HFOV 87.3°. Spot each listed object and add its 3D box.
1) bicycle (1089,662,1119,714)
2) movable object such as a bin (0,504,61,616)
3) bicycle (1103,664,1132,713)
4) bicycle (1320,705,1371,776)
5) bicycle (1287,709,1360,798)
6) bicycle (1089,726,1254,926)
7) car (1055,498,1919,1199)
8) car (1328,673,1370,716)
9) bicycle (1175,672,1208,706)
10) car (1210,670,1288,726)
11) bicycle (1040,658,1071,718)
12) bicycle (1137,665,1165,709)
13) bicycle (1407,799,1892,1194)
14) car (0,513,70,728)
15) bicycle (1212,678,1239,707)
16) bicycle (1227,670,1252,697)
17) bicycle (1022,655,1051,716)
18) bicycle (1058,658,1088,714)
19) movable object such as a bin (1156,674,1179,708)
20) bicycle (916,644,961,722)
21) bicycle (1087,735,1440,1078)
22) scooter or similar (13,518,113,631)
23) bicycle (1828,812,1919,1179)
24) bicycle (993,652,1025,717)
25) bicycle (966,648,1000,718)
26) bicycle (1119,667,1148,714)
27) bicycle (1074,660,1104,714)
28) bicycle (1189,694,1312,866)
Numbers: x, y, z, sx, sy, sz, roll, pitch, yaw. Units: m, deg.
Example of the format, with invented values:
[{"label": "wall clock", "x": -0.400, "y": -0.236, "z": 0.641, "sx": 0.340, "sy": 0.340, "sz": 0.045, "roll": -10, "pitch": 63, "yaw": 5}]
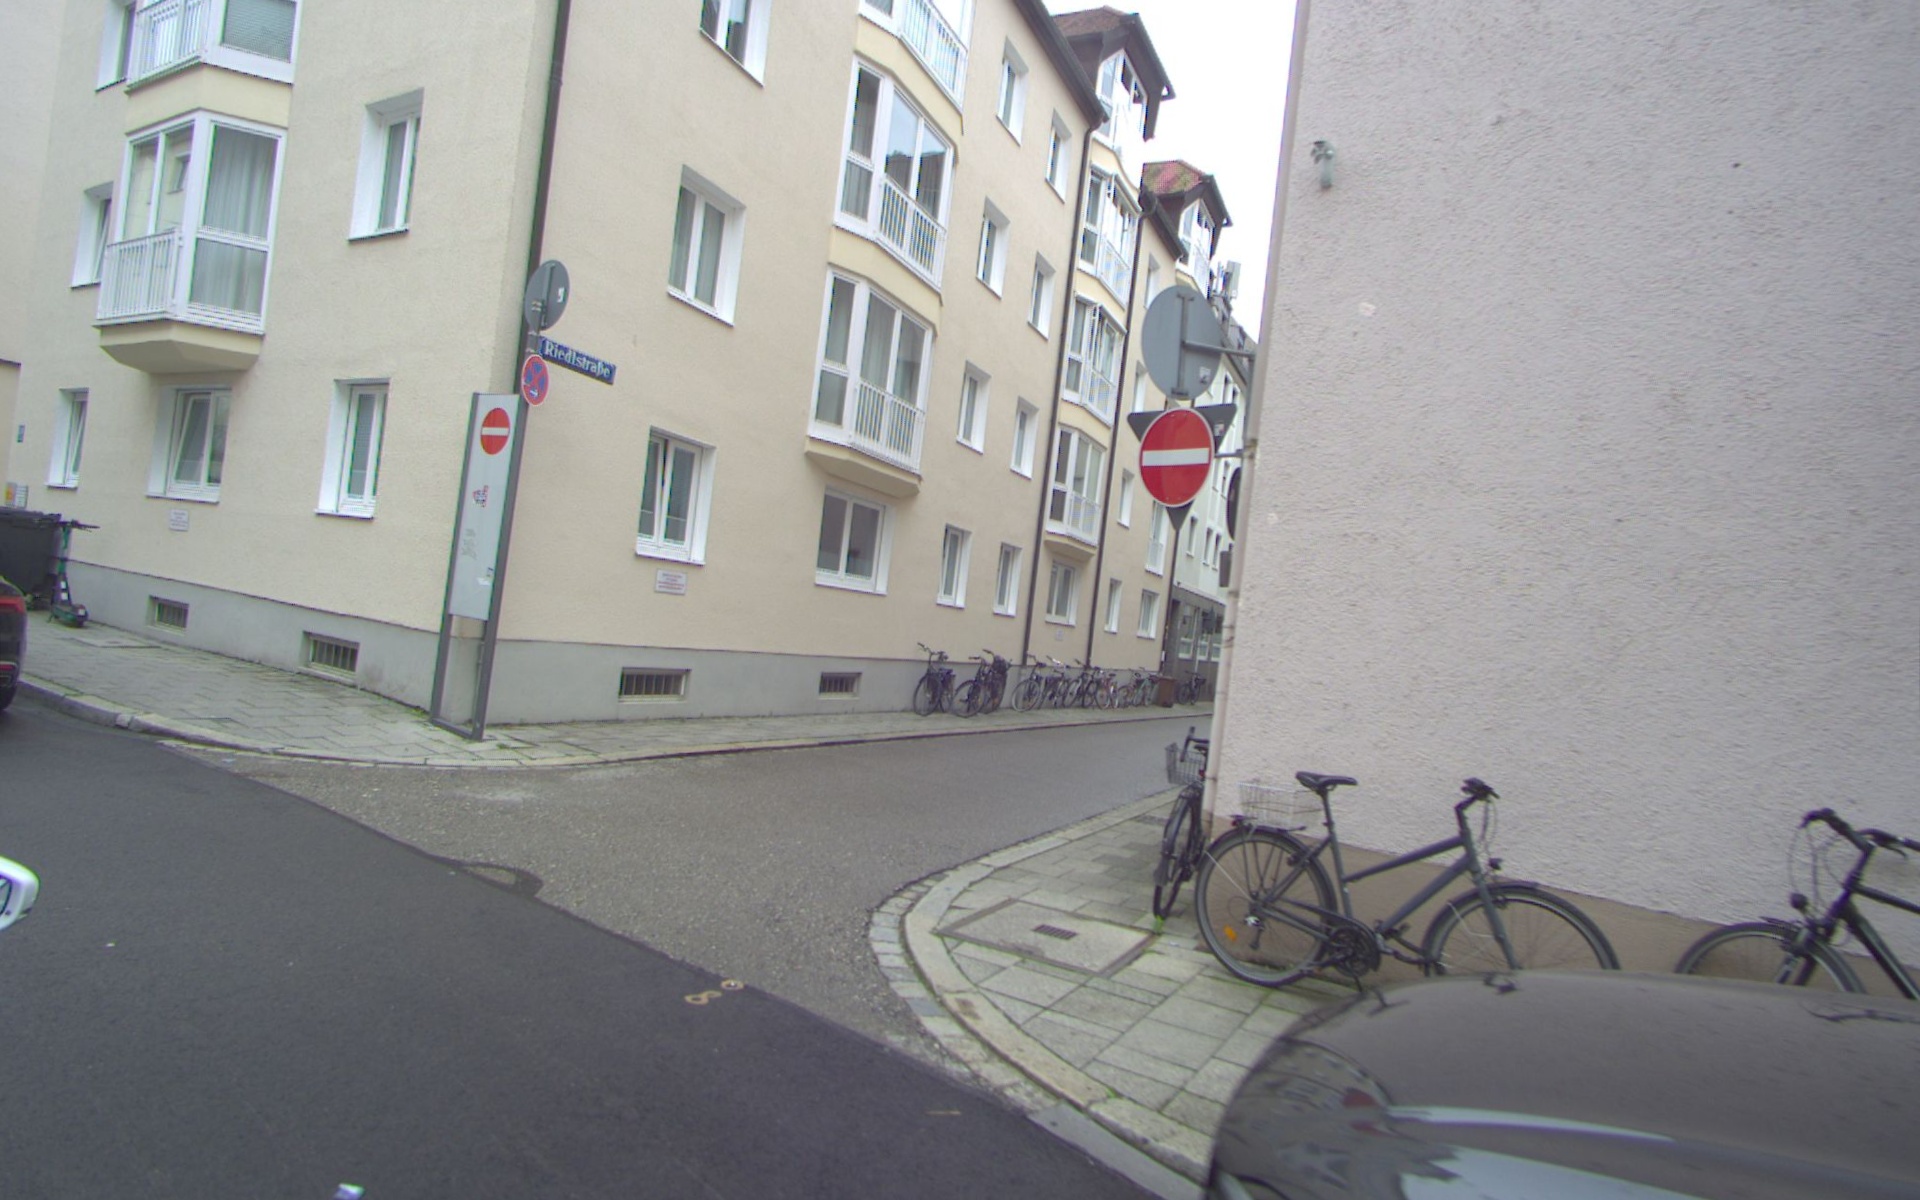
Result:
[{"label": "bicycle", "x": 3.465, "y": 2.100, "z": 24.261, "sx": 0.447, "sy": 1.100, "sz": 1.724, "roll": 7, "pitch": -1, "yaw": 4}, {"label": "movable object such as a bin", "x": -13.167, "y": -0.593, "z": 13.621, "sx": 1.561, "sy": 1.441, "sz": 1.032, "roll": 6, "pitch": 1, "yaw": 32}, {"label": "bicycle", "x": 3.976, "y": 2.224, "z": 25.470, "sx": 0.447, "sy": 1.100, "sz": 1.724, "roll": 7, "pitch": -1, "yaw": 4}, {"label": "bicycle", "x": 6.723, "y": 2.413, "z": 17.488, "sx": 0.638, "sy": 1.035, "sz": 1.908, "roll": 7, "pitch": -1, "yaw": 24}, {"label": "bicycle", "x": 4.901, "y": 2.023, "z": 13.500, "sx": 0.600, "sy": 1.003, "sz": 1.736, "roll": 7, "pitch": -1, "yaw": 27}, {"label": "bicycle", "x": 1.351, "y": 1.320, "z": 6.222, "sx": 0.543, "sy": 0.959, "sz": 1.451, "roll": 7, "pitch": -1, "yaw": 27}, {"label": "car", "x": 2.387, "y": 0.987, "z": 0.680, "sx": 4.338, "sy": 1.640, "sz": 1.836, "roll": 6, "pitch": -2, "yaw": 32}, {"label": "car", "x": 20.894, "y": 5.018, "z": 53.960, "sx": 1.683, "sy": 1.880, "sz": 3.731, "roll": 7, "pitch": 1, "yaw": 24}, {"label": "bicycle", "x": 7.865, "y": 3.006, "z": 34.184, "sx": 0.638, "sy": 1.035, "sz": 1.908, "roll": 7, "pitch": -1, "yaw": 24}, {"label": "car", "x": 9.016, "y": 2.990, "z": 31.199, "sx": 1.707, "sy": 1.325, "sz": 3.731, "roll": 7, "pitch": 1, "yaw": 24}, {"label": "bicycle", "x": 1.976, "y": 1.809, "z": 20.956, "sx": 0.447, "sy": 1.100, "sz": 1.724, "roll": 7, "pitch": -1, "yaw": 4}, {"label": "bicycle", "x": 5.414, "y": 2.449, "z": 28.538, "sx": 0.447, "sy": 1.100, "sz": 1.724, "roll": 7, "pitch": -1, "yaw": 4}, {"label": "bicycle", "x": 2.512, "y": 1.386, "z": 3.816, "sx": 1.335, "sy": 0.959, "sz": 0.551, "roll": 7, "pitch": 0, "yaw": 33}, {"label": "car", "x": -8.495, "y": -0.102, "z": 7.345, "sx": 4.340, "sy": 1.422, "sz": 1.836, "roll": 6, "pitch": -3, "yaw": 34}, {"label": "bicycle", "x": 10.511, "y": 3.640, "z": 39.732, "sx": 0.638, "sy": 1.035, "sz": 1.908, "roll": 7, "pitch": -1, "yaw": 24}, {"label": "bicycle", "x": 11.771, "y": 3.495, "z": 42.365, "sx": 0.638, "sy": 1.035, "sz": 1.908, "roll": 7, "pitch": -1, "yaw": 24}, {"label": "bicycle", "x": 1.544, "y": 1.706, "z": 20.376, "sx": 0.447, "sy": 1.100, "sz": 1.724, "roll": 7, "pitch": -1, "yaw": 4}, {"label": "bicycle", "x": 2.491, "y": 1.886, "z": 22.324, "sx": 0.447, "sy": 1.100, "sz": 1.724, "roll": 7, "pitch": -1, "yaw": 4}, {"label": "movable object such as a bin", "x": 6.329, "y": 2.774, "z": 30.678, "sx": 0.499, "sy": 0.947, "sz": 0.478, "roll": 7, "pitch": -1, "yaw": 21}, {"label": "bicycle", "x": -0.369, "y": 1.328, "z": 16.472, "sx": 0.448, "sy": 1.100, "sz": 1.721, "roll": 7, "pitch": -1, "yaw": -7}, {"label": "bicycle", "x": 1.366, "y": 1.300, "z": 4.599, "sx": 1.335, "sy": 1.139, "sz": 0.551, "roll": 7, "pitch": 0, "yaw": 33}, {"label": "scooter or similar", "x": -11.103, "y": -0.316, "z": 12.446, "sx": 1.118, "sy": 1.283, "sz": 0.576, "roll": 6, "pitch": 1, "yaw": 32}, {"label": "bicycle", "x": 3.778, "y": 1.393, "z": 3.110, "sx": 1.517, "sy": 1.135, "sz": 0.357, "roll": 7, "pitch": 0, "yaw": 33}, {"label": "bicycle", "x": 0.942, "y": 1.571, "z": 19.038, "sx": 0.447, "sy": 1.100, "sz": 1.724, "roll": 7, "pitch": -1, "yaw": 4}, {"label": "bicycle", "x": 0.392, "y": 1.460, "z": 17.993, "sx": 0.447, "sy": 1.100, "sz": 1.723, "roll": 7, "pitch": -1, "yaw": 0}, {"label": "bicycle", "x": 4.594, "y": 2.371, "z": 26.674, "sx": 0.447, "sy": 1.100, "sz": 1.724, "roll": 7, "pitch": -1, "yaw": 4}, {"label": "bicycle", "x": 2.970, "y": 1.992, "z": 23.227, "sx": 0.447, "sy": 1.100, "sz": 1.724, "roll": 7, "pitch": -1, "yaw": 4}, {"label": "bicycle", "x": 2.449, "y": 1.415, "z": 8.341, "sx": 0.543, "sy": 1.193, "sz": 1.736, "roll": 7, "pitch": -1, "yaw": 27}]
